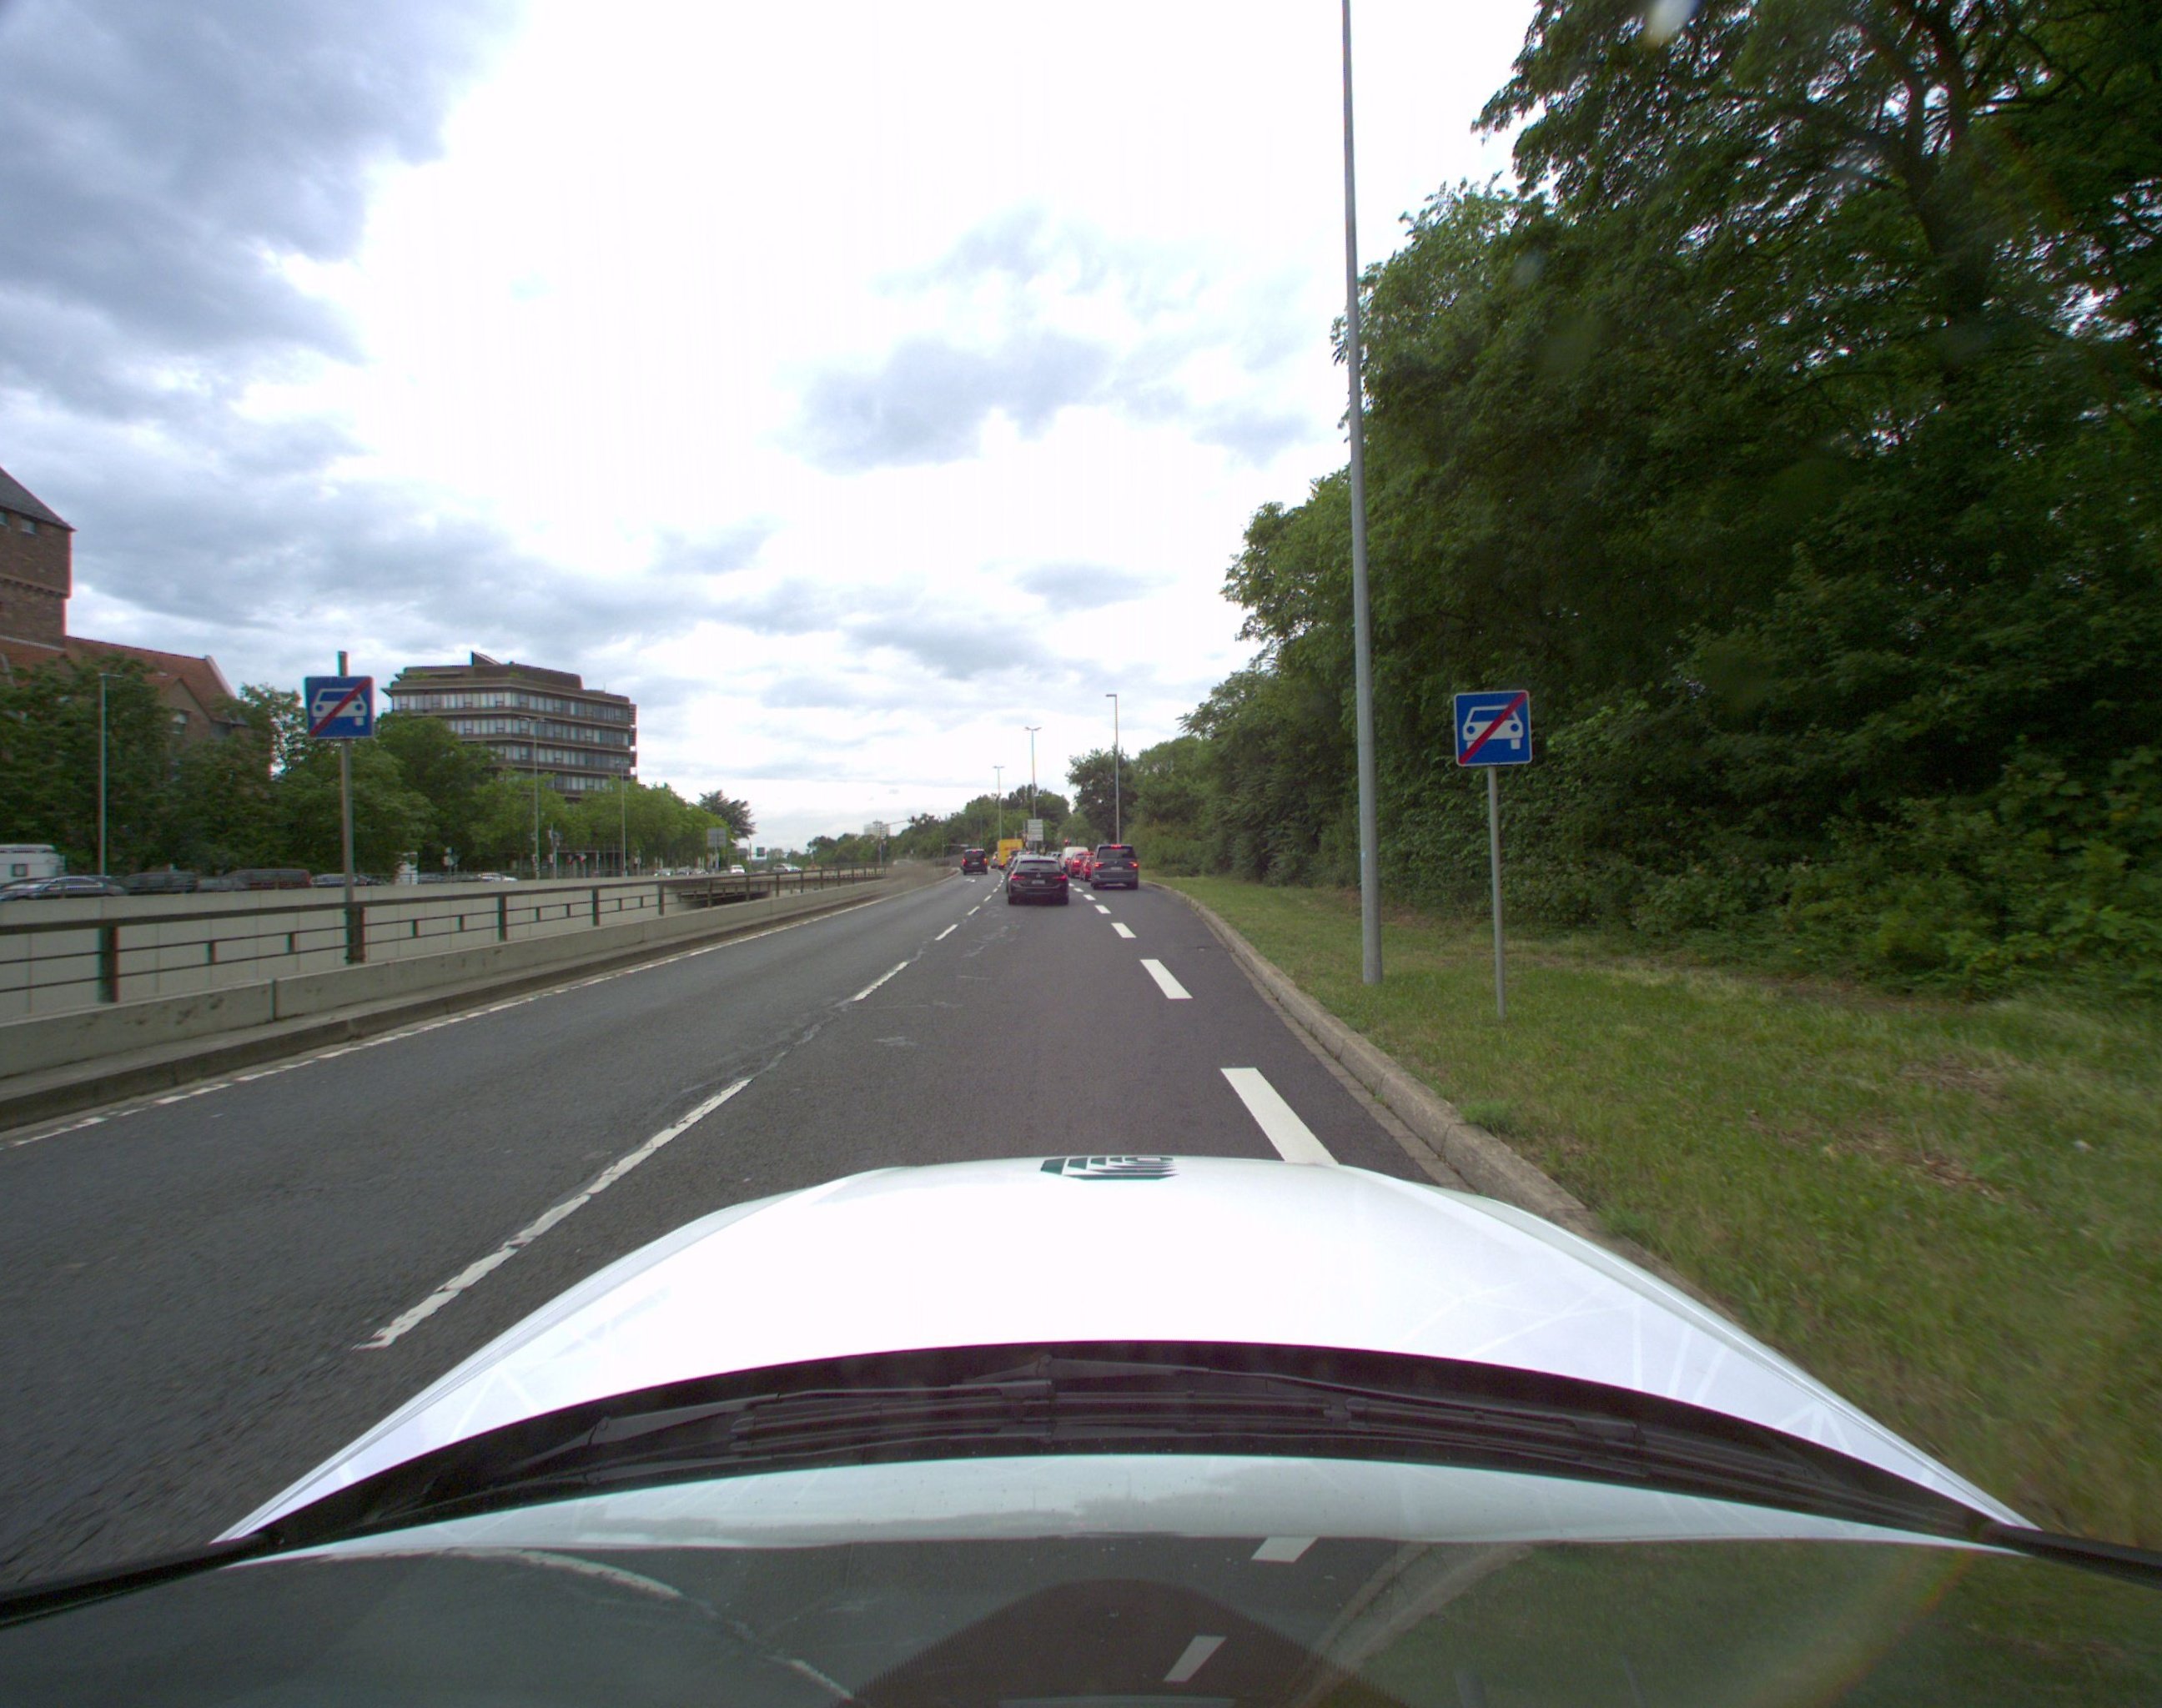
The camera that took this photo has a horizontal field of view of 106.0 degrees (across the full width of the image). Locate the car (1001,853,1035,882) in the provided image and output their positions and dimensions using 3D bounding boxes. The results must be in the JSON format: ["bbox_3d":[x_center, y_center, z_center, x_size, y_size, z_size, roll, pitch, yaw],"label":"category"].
[{"bbox_3d":[-3.642,0.787,47.275,1.881,1.592,4.422,0,-1,-5],"label":"car"}]

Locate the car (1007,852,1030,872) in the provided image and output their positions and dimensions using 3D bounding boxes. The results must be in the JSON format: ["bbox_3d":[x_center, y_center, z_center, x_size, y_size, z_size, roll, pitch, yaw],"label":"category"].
[{"bbox_3d":[-5.362,0.683,69.450,1.881,1.700,4.422,0,-1,-5],"label":"car"}]

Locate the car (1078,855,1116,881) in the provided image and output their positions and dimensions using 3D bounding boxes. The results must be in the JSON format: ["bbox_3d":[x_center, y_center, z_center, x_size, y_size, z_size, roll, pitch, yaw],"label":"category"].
[{"bbox_3d":[0.847,0.766,45.293,1.880,1.356,3.997,0,-1,-2],"label":"car"}]

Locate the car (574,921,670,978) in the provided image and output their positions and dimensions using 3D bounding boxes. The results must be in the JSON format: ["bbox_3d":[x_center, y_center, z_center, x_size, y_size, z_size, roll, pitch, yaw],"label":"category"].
[{"bbox_3d":[-31.491,6.451,56.313,2.501,3.028,7.508,-1,0,-1],"label":"car"}]

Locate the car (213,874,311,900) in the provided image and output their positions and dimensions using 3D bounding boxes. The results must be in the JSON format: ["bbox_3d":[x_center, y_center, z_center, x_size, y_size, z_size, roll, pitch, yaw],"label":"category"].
[{"bbox_3d":[-49.312,1.946,49.077,1.608,1.441,4.025,-1,-1,40],"label":"car"}]

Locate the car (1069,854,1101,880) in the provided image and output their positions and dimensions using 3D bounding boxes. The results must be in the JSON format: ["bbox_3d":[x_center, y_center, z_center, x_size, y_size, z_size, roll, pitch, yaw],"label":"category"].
[{"bbox_3d":[0.210,0.806,50.472,1.880,1.545,3.996,0,-1,-2],"label":"car"}]

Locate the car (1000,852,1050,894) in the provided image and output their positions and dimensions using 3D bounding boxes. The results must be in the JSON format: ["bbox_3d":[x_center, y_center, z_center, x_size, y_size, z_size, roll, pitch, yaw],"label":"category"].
[{"bbox_3d":[-2.308,0.733,33.230,1.881,1.592,4.422,0,-1,-5],"label":"car"}]

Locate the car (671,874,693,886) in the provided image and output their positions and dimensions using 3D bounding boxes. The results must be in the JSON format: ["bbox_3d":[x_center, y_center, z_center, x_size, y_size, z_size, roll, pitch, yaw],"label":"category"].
[{"bbox_3d":[-53.843,3.495,109.984,1.623,1.441,3.987,0,-1,-10],"label":"car"}]

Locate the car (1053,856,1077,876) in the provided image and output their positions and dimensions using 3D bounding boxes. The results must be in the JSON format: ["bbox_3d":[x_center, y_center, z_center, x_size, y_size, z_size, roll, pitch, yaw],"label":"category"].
[{"bbox_3d":[-1.291,0.969,65.625,1.880,1.545,3.997,0,-1,-2],"label":"car"}]

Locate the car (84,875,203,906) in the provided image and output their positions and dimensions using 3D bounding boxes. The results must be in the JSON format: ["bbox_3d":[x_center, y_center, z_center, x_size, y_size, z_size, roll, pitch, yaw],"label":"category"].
[{"bbox_3d":[-48.878,1.876,42.536,1.608,1.441,4.025,-1,-1,40],"label":"car"}]

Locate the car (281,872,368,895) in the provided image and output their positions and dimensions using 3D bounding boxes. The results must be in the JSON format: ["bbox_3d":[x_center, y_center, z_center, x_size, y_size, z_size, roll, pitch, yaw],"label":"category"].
[{"bbox_3d":[-49.737,1.897,53.588,1.608,1.441,4.025,-1,-1,40],"label":"car"}]

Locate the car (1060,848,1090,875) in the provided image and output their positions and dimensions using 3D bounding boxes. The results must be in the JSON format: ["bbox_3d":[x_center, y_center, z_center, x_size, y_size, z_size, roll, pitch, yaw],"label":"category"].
[{"bbox_3d":[-0.475,0.527,58.878,1.881,1.880,4.422,0,-1,-5],"label":"car"}]

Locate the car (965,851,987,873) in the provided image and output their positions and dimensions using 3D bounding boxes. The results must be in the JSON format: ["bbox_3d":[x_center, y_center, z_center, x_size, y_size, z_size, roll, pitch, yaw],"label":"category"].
[{"bbox_3d":[-8.284,0.619,64.359,1.622,1.701,4.286,0,-1,-7],"label":"car"}]

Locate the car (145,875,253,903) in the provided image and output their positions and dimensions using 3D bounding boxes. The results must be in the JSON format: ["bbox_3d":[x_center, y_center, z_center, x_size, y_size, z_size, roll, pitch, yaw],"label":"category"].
[{"bbox_3d":[-49.301,1.909,45.591,1.608,1.441,4.025,-1,-1,40],"label":"car"}]

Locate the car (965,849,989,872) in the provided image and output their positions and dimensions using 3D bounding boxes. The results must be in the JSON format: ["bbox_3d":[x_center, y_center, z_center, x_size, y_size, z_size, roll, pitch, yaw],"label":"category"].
[{"bbox_3d":[-9.205,0.579,72.474,1.881,1.987,4.422,0,-1,-5],"label":"car"}]

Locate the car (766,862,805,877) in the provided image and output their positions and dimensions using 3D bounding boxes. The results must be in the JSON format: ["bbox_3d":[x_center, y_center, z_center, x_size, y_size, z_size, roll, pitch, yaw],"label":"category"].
[{"bbox_3d":[-40.519,2.148,111.644,4.756,2.013,2.009,-1,0,17],"label":"car"}]

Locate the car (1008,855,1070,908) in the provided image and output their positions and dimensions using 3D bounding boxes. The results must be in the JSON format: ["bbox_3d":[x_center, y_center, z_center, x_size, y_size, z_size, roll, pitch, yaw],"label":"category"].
[{"bbox_3d":[-1.326,0.782,25.539,1.745,1.426,4.456,-1,0,-3],"label":"car"}]

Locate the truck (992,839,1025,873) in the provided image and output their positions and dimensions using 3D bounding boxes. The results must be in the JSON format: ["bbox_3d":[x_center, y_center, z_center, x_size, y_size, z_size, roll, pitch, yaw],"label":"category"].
[{"bbox_3d":[-7.205,0.270,79.814,2.919,3.043,9.319,-2,-1,-7],"label":"truck"}]

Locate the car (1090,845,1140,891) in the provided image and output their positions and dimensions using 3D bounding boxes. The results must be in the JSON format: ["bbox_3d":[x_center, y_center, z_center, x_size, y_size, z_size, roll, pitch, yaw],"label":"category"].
[{"bbox_3d":[1.419,0.585,35.527,1.894,1.884,4.412,0,-1,-2],"label":"car"}]

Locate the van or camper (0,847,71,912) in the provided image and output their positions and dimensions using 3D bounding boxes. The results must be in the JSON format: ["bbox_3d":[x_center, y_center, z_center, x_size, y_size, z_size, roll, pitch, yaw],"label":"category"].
[{"bbox_3d":[-48.493,1.112,35.093,5.958,2.810,2.119,1,-1,-44],"label":"van or camper"}]
